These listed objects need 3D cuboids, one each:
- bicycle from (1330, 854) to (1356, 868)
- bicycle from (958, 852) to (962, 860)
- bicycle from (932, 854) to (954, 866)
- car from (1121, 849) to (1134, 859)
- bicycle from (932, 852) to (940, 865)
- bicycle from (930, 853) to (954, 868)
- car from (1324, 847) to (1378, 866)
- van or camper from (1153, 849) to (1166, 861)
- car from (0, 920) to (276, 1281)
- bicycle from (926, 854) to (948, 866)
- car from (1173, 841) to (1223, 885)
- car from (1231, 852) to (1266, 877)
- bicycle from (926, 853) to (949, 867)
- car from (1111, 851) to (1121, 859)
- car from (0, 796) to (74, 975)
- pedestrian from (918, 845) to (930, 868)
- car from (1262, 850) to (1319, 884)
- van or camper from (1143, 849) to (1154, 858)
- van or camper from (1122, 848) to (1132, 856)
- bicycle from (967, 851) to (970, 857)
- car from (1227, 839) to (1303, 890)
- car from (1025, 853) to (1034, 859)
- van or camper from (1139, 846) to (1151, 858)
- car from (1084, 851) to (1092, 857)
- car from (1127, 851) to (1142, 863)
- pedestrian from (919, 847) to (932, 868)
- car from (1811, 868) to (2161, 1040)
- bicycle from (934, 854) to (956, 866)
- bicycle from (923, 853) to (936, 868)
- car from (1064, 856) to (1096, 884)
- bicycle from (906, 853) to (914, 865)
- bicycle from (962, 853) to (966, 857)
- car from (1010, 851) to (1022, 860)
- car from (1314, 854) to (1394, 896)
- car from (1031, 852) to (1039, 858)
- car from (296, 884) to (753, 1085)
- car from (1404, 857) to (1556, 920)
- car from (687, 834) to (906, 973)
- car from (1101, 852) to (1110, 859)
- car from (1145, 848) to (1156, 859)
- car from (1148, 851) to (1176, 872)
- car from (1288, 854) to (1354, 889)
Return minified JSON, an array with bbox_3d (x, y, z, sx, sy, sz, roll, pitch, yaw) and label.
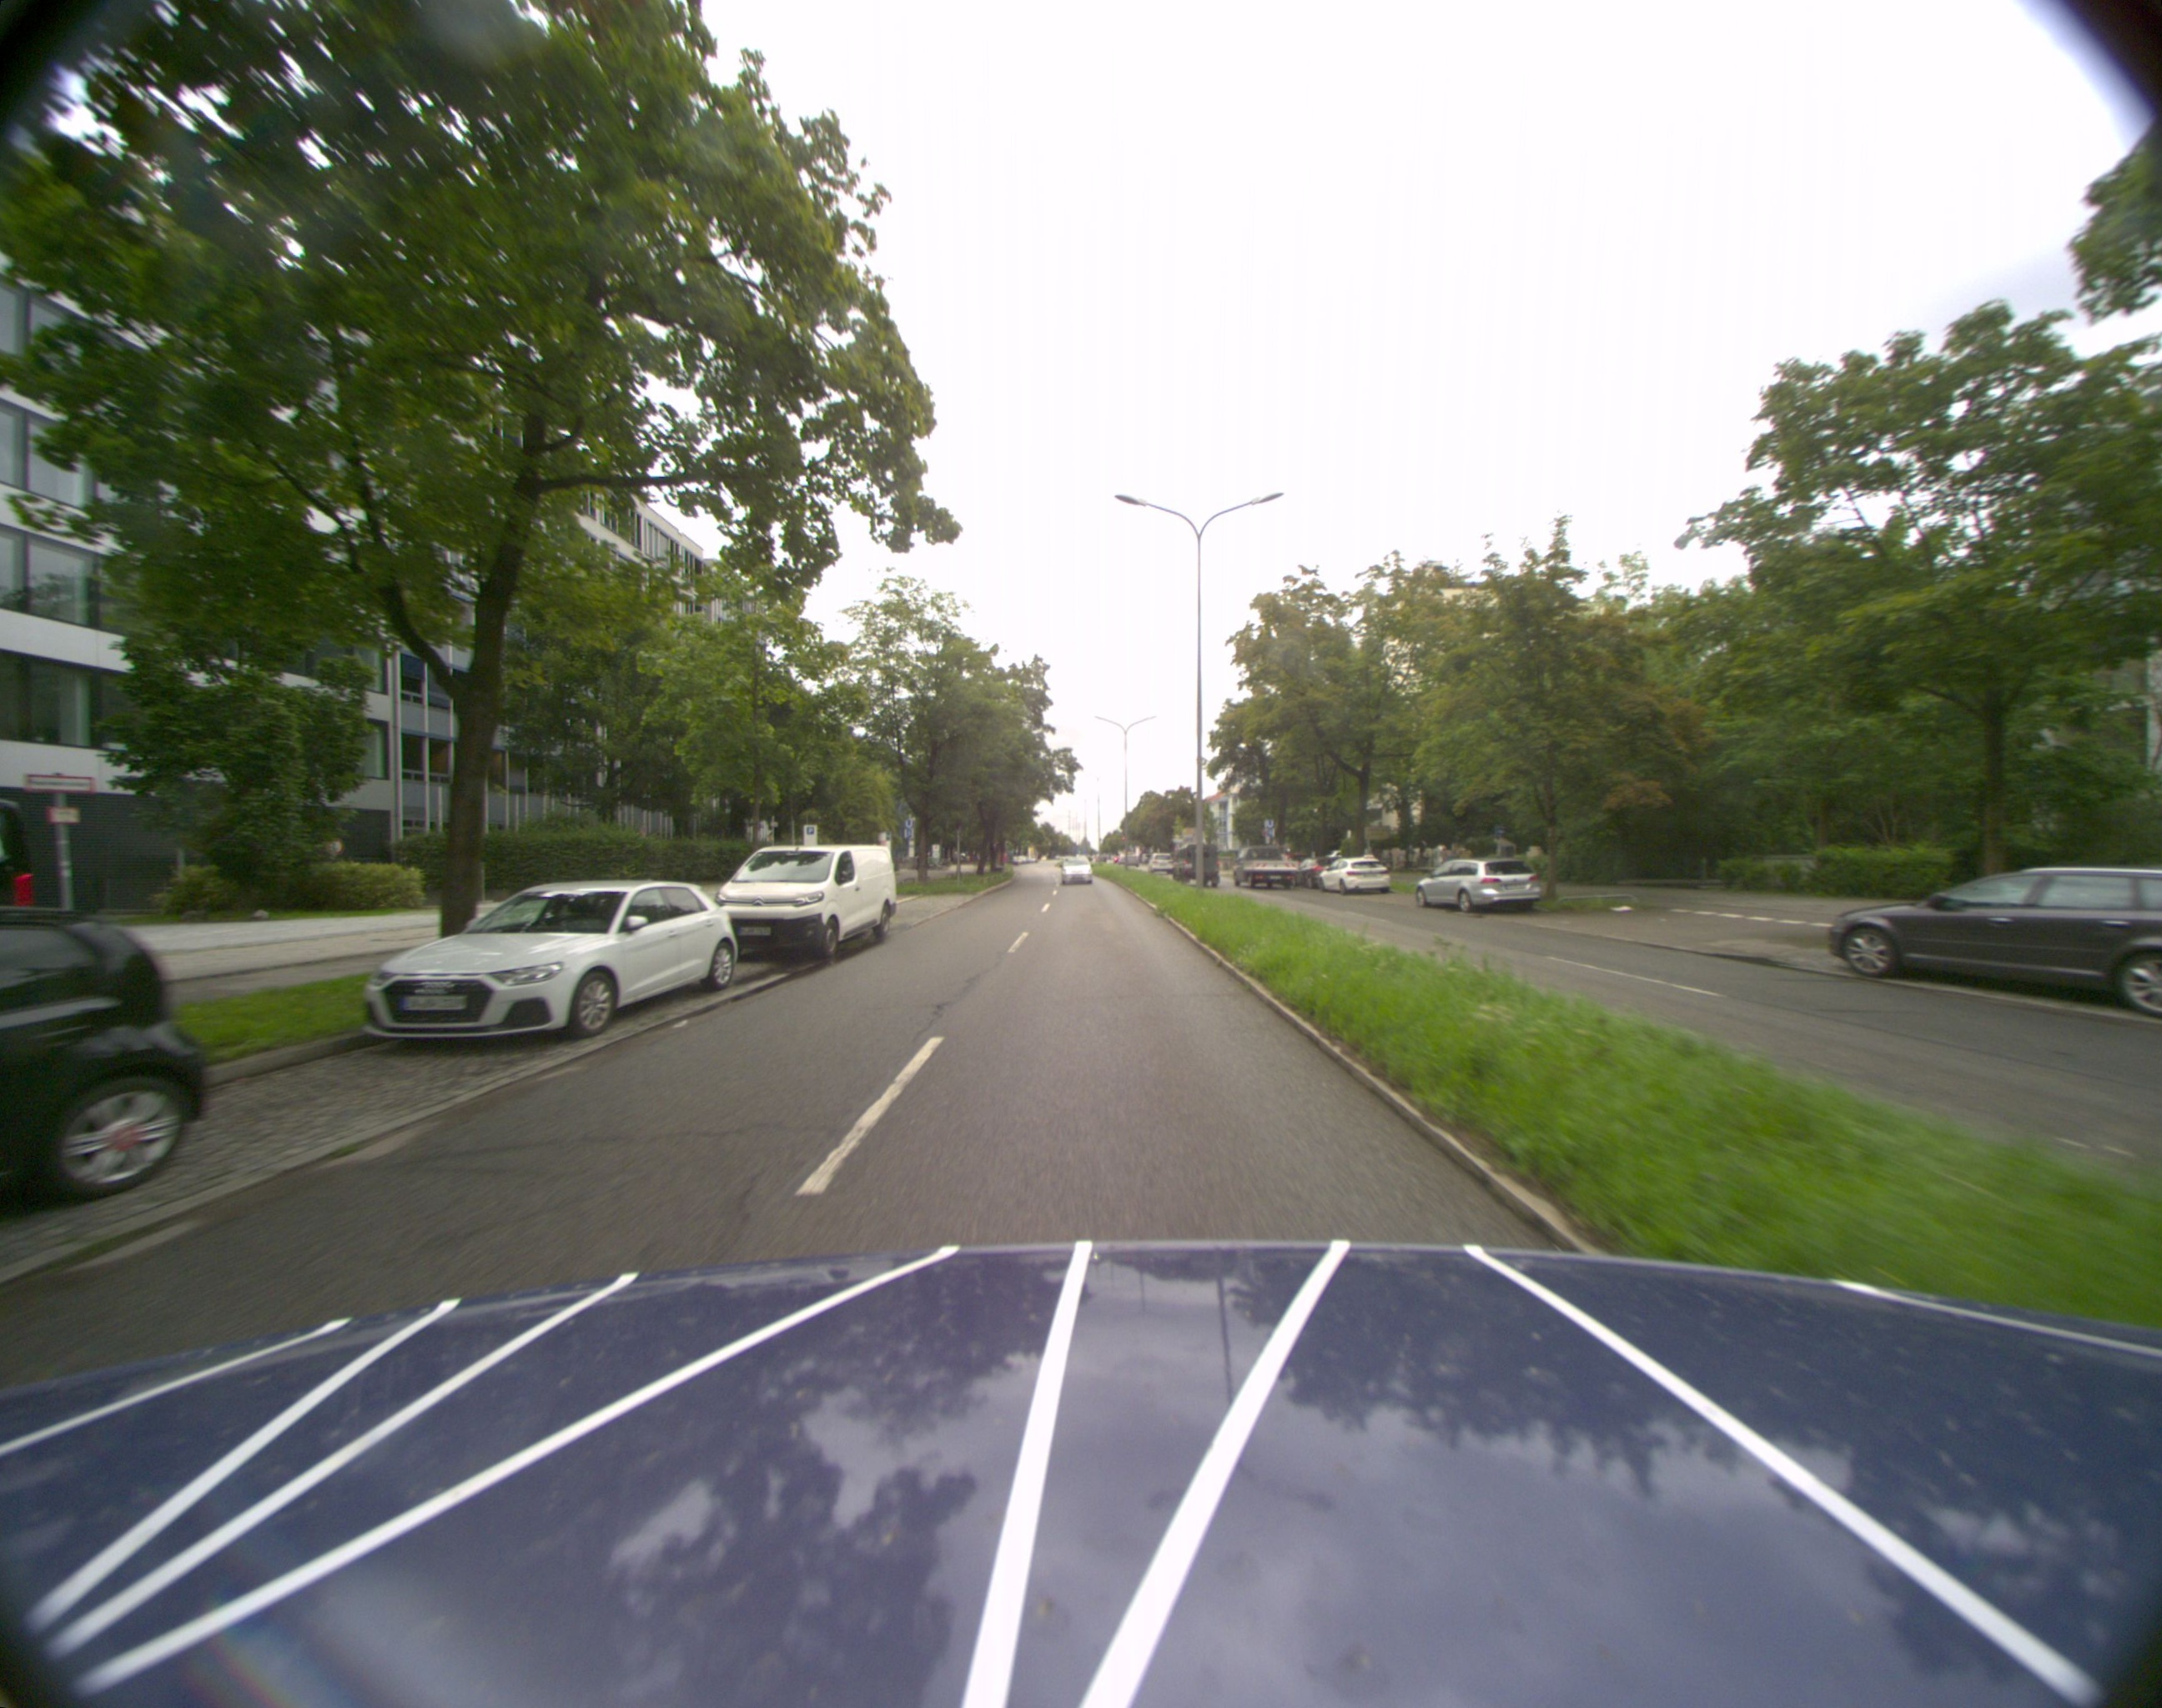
[{"bbox_3d":[19.796,0.524,57.390,1.766,1.001,0.436,0,1,0],"label":"bicycle"},{"bbox_3d":[-17.861,0.307,112.168,0.622,1.243,1.919,0,0,-6],"label":"bicycle"},{"bbox_3d":[-13.009,0.539,71.606,2.045,1.083,0.603,1,2,-44],"label":"bicycle"},{"bbox_3d":[7.560,0.005,123.586,1.920,1.475,4.865,0,0,1],"label":"car"},{"bbox_3d":[-14.099,0.426,74.008,0.489,1.182,1.953,0,0,-3],"label":"bicycle"},{"bbox_3d":[-12.338,0.575,67.383,1.958,1.182,0.595,3,-1,-33],"label":"bicycle"},{"bbox_3d":[23.213,0.195,65.389,3.996,1.580,1.749,0,0,2],"label":"car"},{"bbox_3d":[13.417,0.170,130.219,1.809,1.956,5.210,0,0,0],"label":"van or camper"},{"bbox_3d":[-5.493,1.109,2.358,1.706,1.438,3.978,0,0,1],"label":"car"},{"bbox_3d":[-13.325,0.539,70.320,1.959,1.059,0.578,3,0,-44],"label":"bicycle"},{"bbox_3d":[5.730,0.407,37.715,1.785,2.018,4.818,0,0,0],"label":"car"},{"bbox_3d":[11.564,0.675,52.619,1.651,1.605,3.819,-2,0,2],"label":"car"},{"bbox_3d":[-12.915,0.534,68.369,1.959,1.101,0.579,5,-3,-44],"label":"bicycle"},{"bbox_3d":[6.493,0.227,141.632,1.696,1.394,3.967,0,0,0],"label":"car"},{"bbox_3d":[-14.961,0.407,7.294,2.271,2.293,6.267,0,0,-1],"label":"car"},{"bbox_3d":[-12.794,0.184,61.964,0.652,1.888,0.750,0,1,14],"label":"pedestrian"},{"bbox_3d":[11.325,0.661,41.400,1.743,1.642,4.605,-3,0,-1],"label":"car"},{"bbox_3d":[13.870,-0.099,156.125,2.026,1.930,4.704,0,0,1],"label":"van or camper"},{"bbox_3d":[11.205,-0.489,185.369,2.020,2.004,5.198,0,0,1],"label":"van or camper"},{"bbox_3d":[-23.097,0.086,156.084,0.512,1.185,2.141,0,1,-1],"label":"bicycle"},{"bbox_3d":[8.704,0.457,36.475,2.214,2.181,5.799,1,0,0],"label":"car"},{"bbox_3d":[-11.202,0.380,165.633,1.590,1.310,3.734,0,0,1],"label":"car"},{"bbox_3d":[13.911,-0.412,165.627,2.055,2.472,5.548,0,0,0],"label":"van or camper"},{"bbox_3d":[1.528,0.025,169.658,1.787,1.397,4.101,0,0,-1],"label":"car"},{"bbox_3d":[7.158,0.343,102.481,1.770,1.615,4.376,0,0,1],"label":"car"},{"bbox_3d":[-12.480,0.278,61.014,0.784,1.704,0.751,0,1,14],"label":"pedestrian"},{"bbox_3d":[10.606,0.943,8.019,1.584,1.415,4.362,-3,0,0],"label":"car"},{"bbox_3d":[-13.057,0.552,73.153,2.037,1.093,0.578,2,1,-45],"label":"bicycle"},{"bbox_3d":[-12.883,0.549,64.474,0.531,1.219,1.862,2,-1,5],"label":"bicycle"},{"bbox_3d":[-0.026,0.826,41.423,1.679,1.434,3.734,0,0,1],"label":"car"},{"bbox_3d":[-16.675,0.471,74.126,0.447,1.182,1.953,0,0,-3],"label":"bicycle"},{"bbox_3d":[-24.025,0.241,155.923,0.512,0.935,2.141,0,0,-1],"label":"bicycle"},{"bbox_3d":[-11.487,0.301,135.032,1.866,1.581,4.601,0,0,-2],"label":"car"},{"bbox_3d":[11.135,0.804,31.297,1.743,1.521,4.475,-2,0,1],"label":"car"},{"bbox_3d":[-10.986,0.194,182.725,1.590,1.495,3.734,0,0,1],"label":"car"},{"bbox_3d":[-5.314,1.116,8.121,1.706,1.389,4.232,0,0,1],"label":"car"},{"bbox_3d":[11.053,0.878,21.526,1.741,1.440,4.822,-3,0,0],"label":"car"},{"bbox_3d":[-5.034,0.752,14.514,1.992,2.145,5.555,0,0,1],"label":"car"},{"bbox_3d":[5.335,0.322,164.667,1.962,1.471,4.259,0,0,1],"label":"car"},{"bbox_3d":[13.701,-0.099,150.092,1.801,1.986,4.546,0,0,1],"label":"car"},{"bbox_3d":[6.532,0.549,61.925,1.838,1.633,4.350,0,0,0],"label":"car"},{"bbox_3d":[11.259,0.766,35.931,1.743,1.474,4.334,-3,0,1],"label":"car"}]
